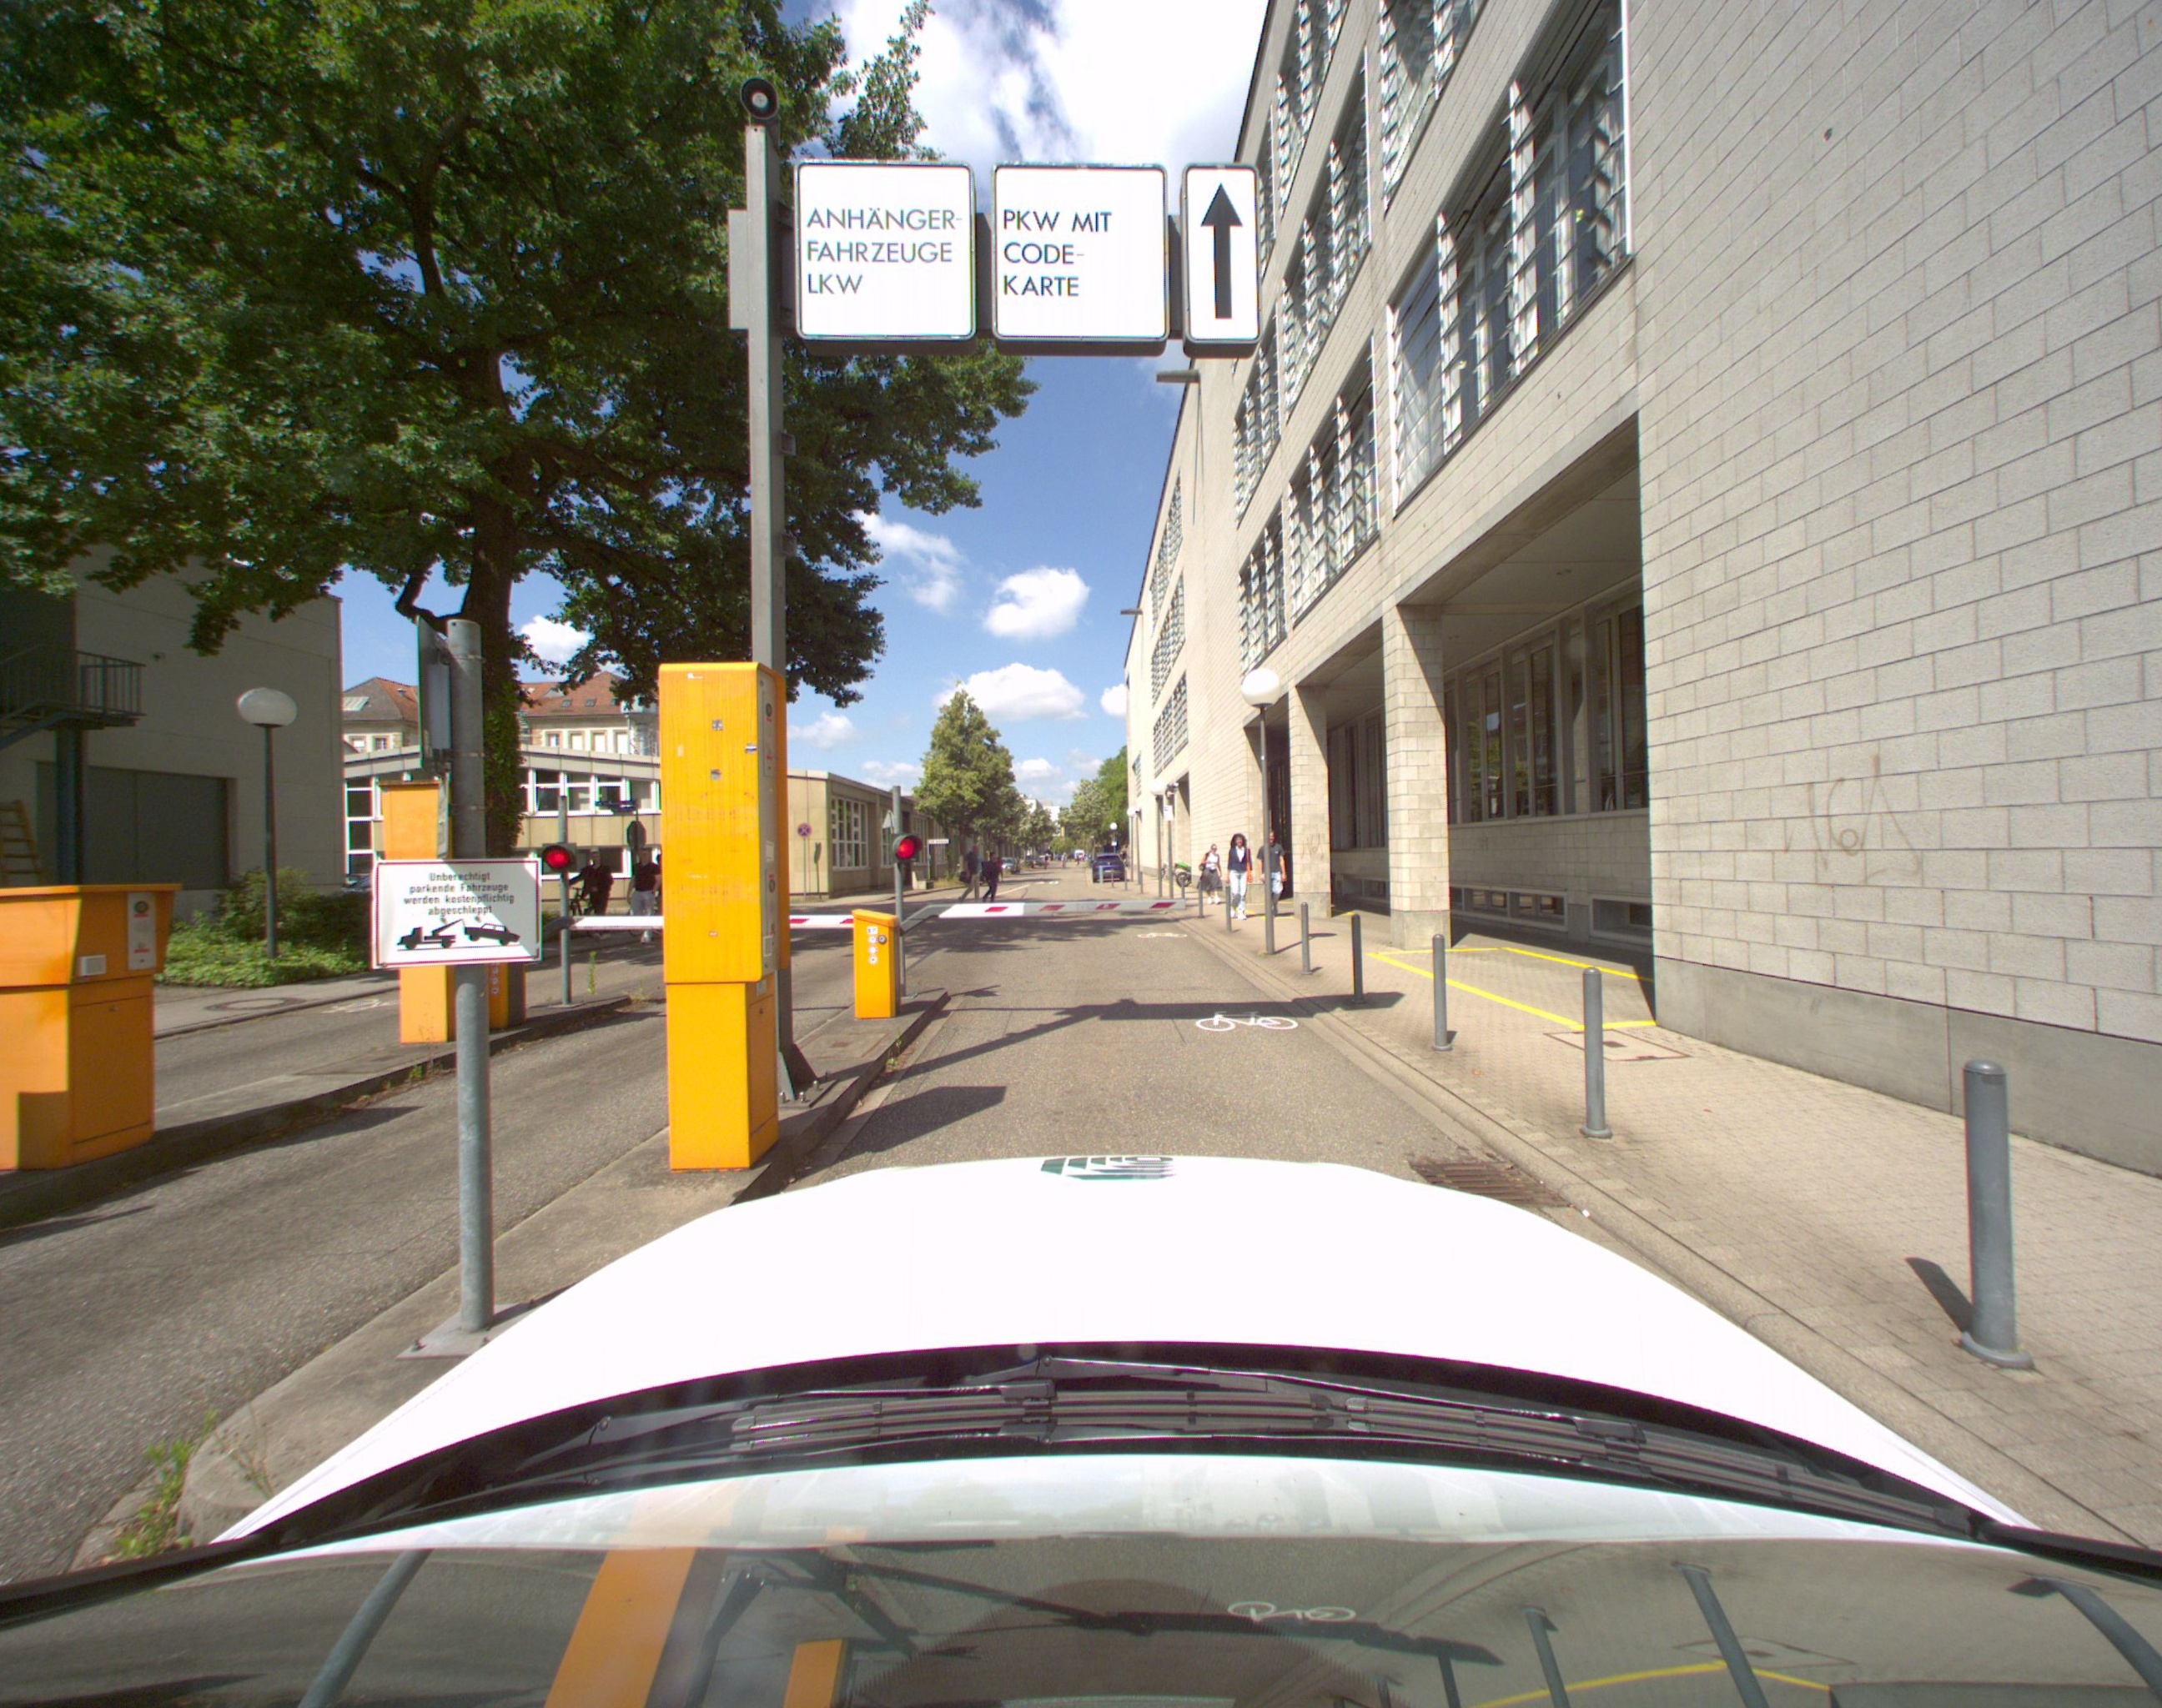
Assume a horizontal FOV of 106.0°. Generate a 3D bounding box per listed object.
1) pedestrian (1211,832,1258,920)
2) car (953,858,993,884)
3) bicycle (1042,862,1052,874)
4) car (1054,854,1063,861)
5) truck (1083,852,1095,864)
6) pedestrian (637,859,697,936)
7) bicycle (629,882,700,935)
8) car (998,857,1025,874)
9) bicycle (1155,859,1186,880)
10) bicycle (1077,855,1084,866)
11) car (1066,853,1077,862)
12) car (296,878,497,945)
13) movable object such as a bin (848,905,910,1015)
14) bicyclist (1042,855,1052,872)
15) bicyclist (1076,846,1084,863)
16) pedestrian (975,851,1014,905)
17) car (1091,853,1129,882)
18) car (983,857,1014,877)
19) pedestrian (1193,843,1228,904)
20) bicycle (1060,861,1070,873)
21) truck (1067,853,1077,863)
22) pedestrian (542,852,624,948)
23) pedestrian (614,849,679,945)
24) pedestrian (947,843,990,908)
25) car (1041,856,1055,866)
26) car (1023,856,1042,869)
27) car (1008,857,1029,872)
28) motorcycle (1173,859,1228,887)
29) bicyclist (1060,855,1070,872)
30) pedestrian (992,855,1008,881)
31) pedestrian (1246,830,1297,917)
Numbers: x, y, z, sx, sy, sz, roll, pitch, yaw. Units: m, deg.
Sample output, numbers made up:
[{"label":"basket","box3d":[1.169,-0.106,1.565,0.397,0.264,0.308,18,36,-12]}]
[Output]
[{"label":"pedestrian","box3d":[3.257,0.456,17.344,0.693,1.780,1.085,-3,0,-2]},{"label":"car","box3d":[-7.019,1.064,53.360,1.987,1.545,4.212,-1,0,0]},{"label":"bicycle","box3d":[-3.818,1.601,92.017,0.984,1.316,2.963,-2,-2,0]},{"label":"car","box3d":[-5.746,0.941,207.862,1.985,1.720,4.002,-2,-2,2]},{"label":"truck","box3d":[1.443,0.690,150.998,1.988,2.014,3.997,-2,-2,-1]},{"label":"pedestrian","box3d":[-8.950,0.919,17.636,0.852,1.586,0.805,-2,0,-1]},{"label":"bicycle","box3d":[-9.480,1.213,18.636,0.643,1.049,1.899,-2,0,-1]},{"label":"car","box3d":[-6.386,1.044,75.263,1.987,1.545,4.212,-1,0,0]},{"label":"bicycle","box3d":[4.737,0.803,43.071,1.535,1.066,0.649,-2,0,7]},{"label":"bicycle","box3d":[-0.095,0.901,110.138,0.984,1.316,2.963,-2,-2,0]},{"label":"car","box3d":[-2.079,0.736,174.387,1.985,1.720,4.002,-2,-2,2]},{"label":"car","box3d":[-18.296,1.470,22.083,1.824,1.466,4.297,-1,0,-1]},{"label":"movable object such as a bin","box3d":[-1.752,0.913,7.080,0.414,0.905,0.353,-1,0,4]},{"label":"bicyclist","box3d":[-3.824,1.104,92.139,0.984,1.884,1.036,-2,-2,-1]},{"label":"bicyclist","box3d":[-0.141,0.063,110.255,0.984,2.132,1.036,-2,-2,-1]},{"label":"pedestrian","box3d":[-2.709,0.749,25.464,0.899,1.632,0.879,0,-1,-30]},{"label":"car","box3d":[1.600,0.743,46.014,1.987,1.545,4.212,-1,0,0]},{"label":"car","box3d":[-6.691,1.017,66.471,1.987,1.545,4.212,-1,0,0]},{"label":"pedestrian","box3d":[3.605,0.527,22.729,0.739,1.632,0.887,-3,0,-2]},{"label":"bicycle","box3d":[-1.778,1.456,91.618,0.983,1.316,2.965,-2,-2,2]},{"label":"truck","box3d":[-2.189,0.866,194.932,2.226,2.298,4.839,-1,0,-1]},{"label":"pedestrian","box3d":[-9.823,0.888,16.095,1.053,1.816,0.806,-2,0,-2]},{"label":"pedestrian","box3d":[-8.575,0.816,16.099,0.703,1.809,1.001,-2,0,-1]},{"label":"pedestrian","box3d":[-3.411,0.631,24.671,1.009,1.925,0.879,0,-1,-30]},{"label":"car","box3d":[-5.251,1.112,130.010,1.987,1.545,4.212,-1,0,0]},{"label":"car","box3d":[-6.126,1.030,103.400,1.987,1.545,4.212,-1,0,0]},{"label":"car","box3d":[-6.944,1.180,90.997,1.987,1.545,4.212,-1,0,0]},{"label":"motorcycle","box3d":[4.883,0.791,33.464,2.115,1.023,0.660,-3,-2,1]},{"label":"bicyclist","box3d":[-1.778,1.031,91.910,0.984,1.884,1.036,-2,-2,1]},{"label":"pedestrian","box3d":[-5.245,0.894,52.735,0.889,1.632,0.889,-1,-1,4]},{"label":"pedestrian","box3d":[4.053,0.402,17.377,0.765,1.780,0.910,-3,0,-2]}]
